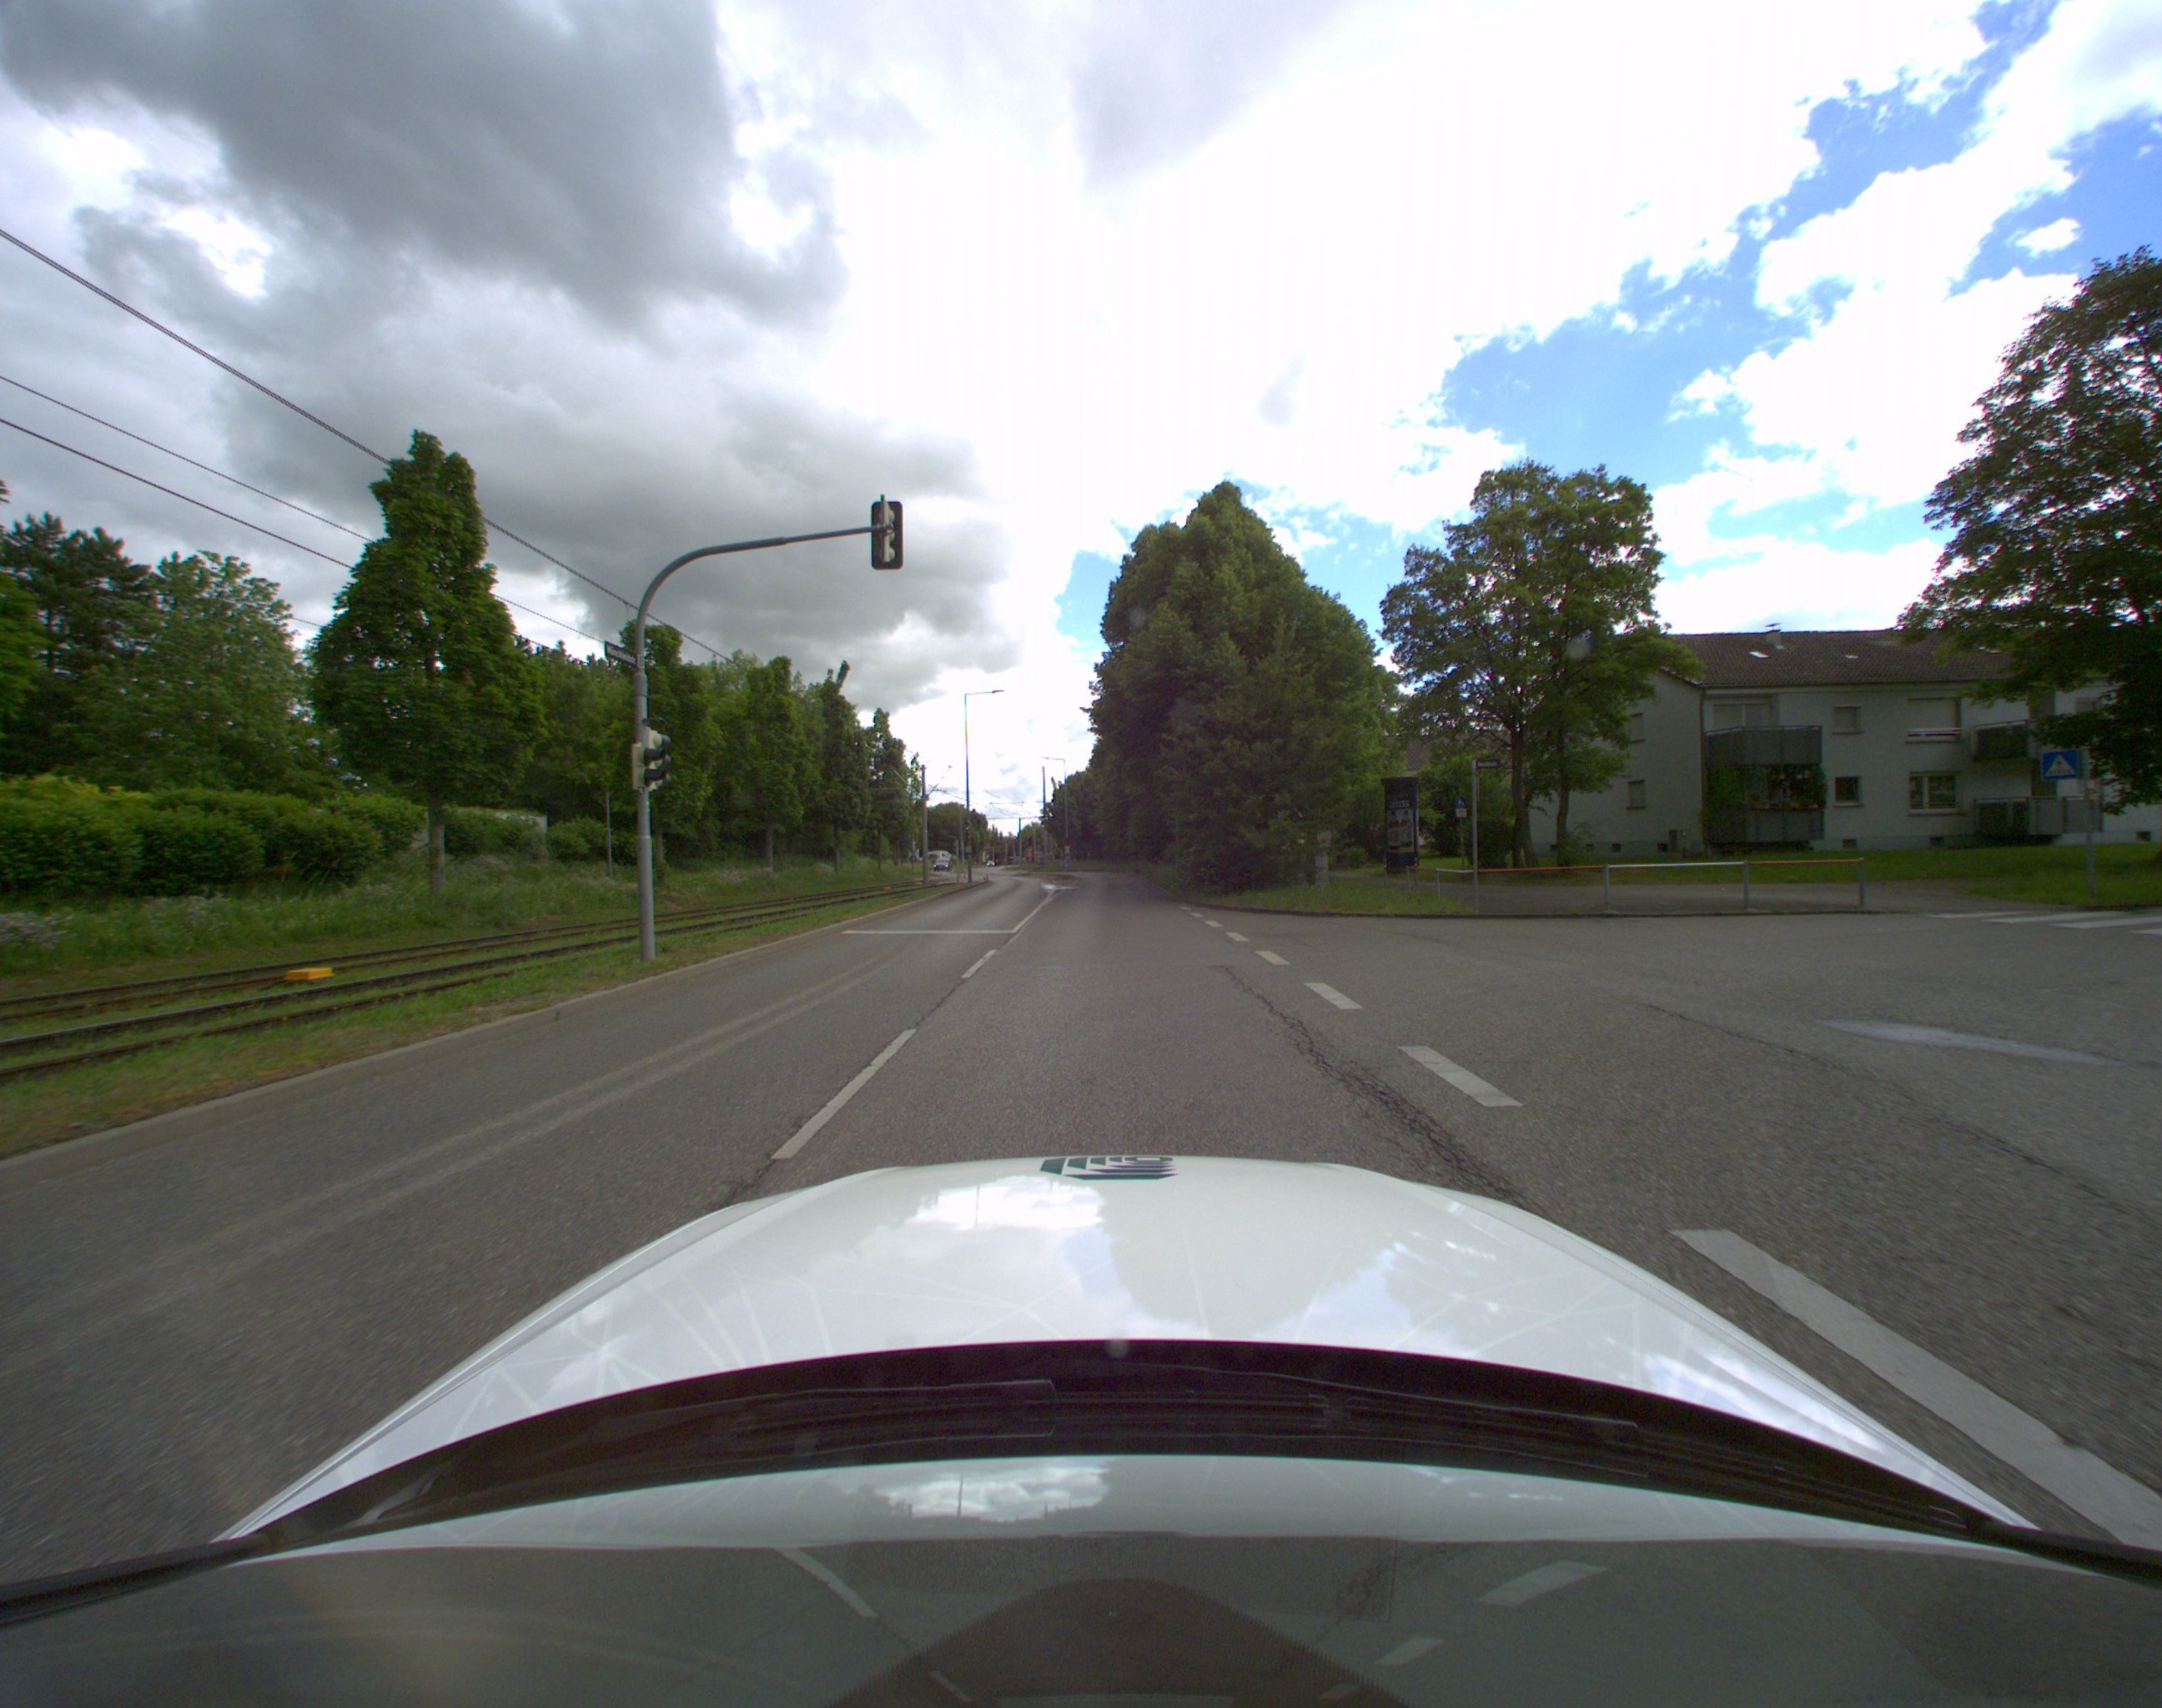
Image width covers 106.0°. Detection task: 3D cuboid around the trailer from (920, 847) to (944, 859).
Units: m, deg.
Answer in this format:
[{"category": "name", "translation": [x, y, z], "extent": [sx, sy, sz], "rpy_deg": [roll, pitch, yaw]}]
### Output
[{"category": "trailer", "translation": [-27.516, -0.182, 150.073], "extent": [3.974, 2.013, 1.908], "rpy_deg": [-1, 0, 0]}]

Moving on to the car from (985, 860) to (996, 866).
[{"category": "car", "translation": [-22.949, 2.330, 206.904], "extent": [1.986, 1.438, 4.428], "rpy_deg": [-3, 0, 2]}]

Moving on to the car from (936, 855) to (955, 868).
[{"category": "car", "translation": [-16.659, 0.927, 100.242], "extent": [1.863, 1.521, 4.234], "rpy_deg": [-1, 1, -3]}]

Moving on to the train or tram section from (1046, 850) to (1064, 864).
[{"category": "train or tram section", "translation": [-7.356, 0.818, 224.662], "extent": [3.003, 3.310, 34.644], "rpy_deg": [-1, 0, -5]}]

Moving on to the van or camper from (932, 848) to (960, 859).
[{"category": "van or camper", "translation": [-27.293, -0.065, 164.515], "extent": [5.321, 2.203, 1.998], "rpy_deg": [-1, 0, -3]}]
